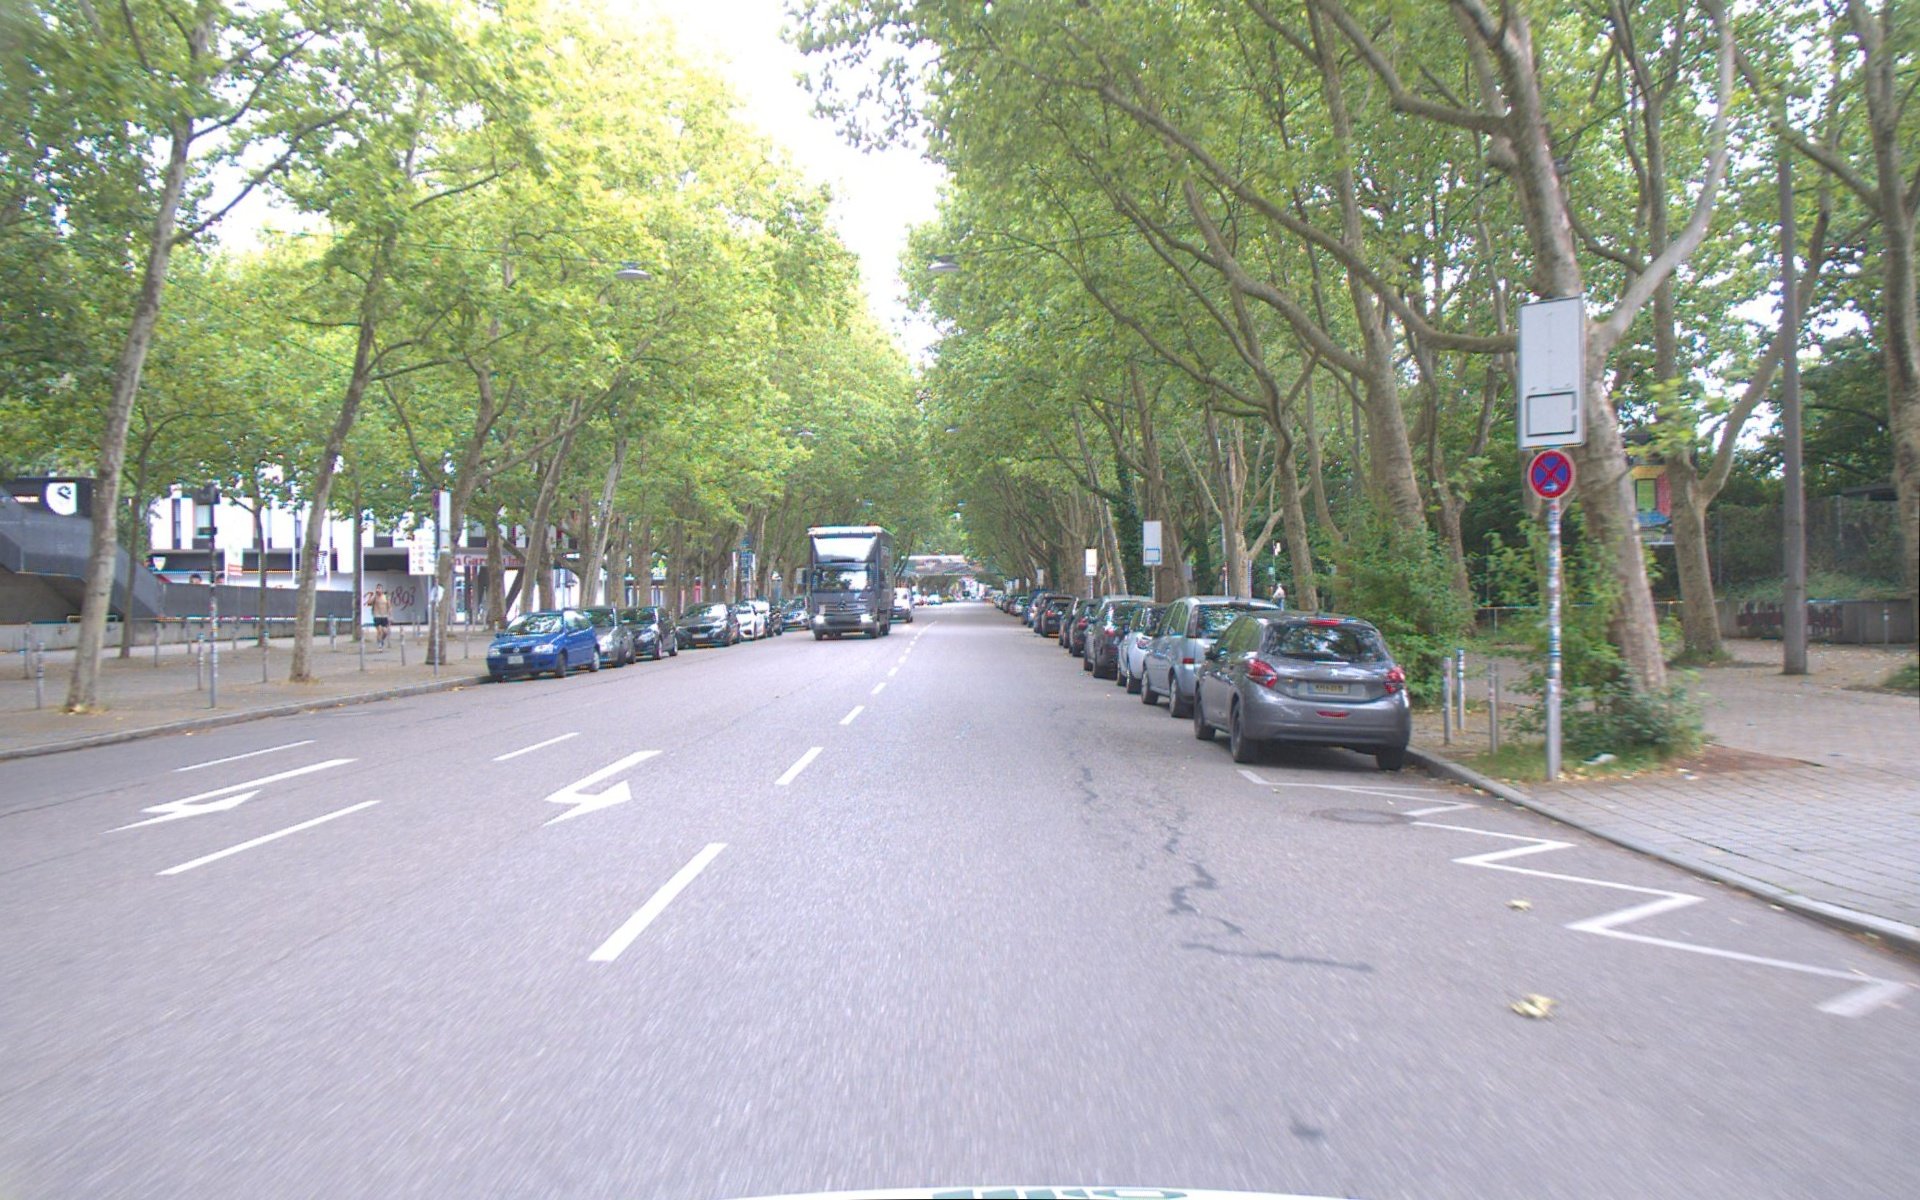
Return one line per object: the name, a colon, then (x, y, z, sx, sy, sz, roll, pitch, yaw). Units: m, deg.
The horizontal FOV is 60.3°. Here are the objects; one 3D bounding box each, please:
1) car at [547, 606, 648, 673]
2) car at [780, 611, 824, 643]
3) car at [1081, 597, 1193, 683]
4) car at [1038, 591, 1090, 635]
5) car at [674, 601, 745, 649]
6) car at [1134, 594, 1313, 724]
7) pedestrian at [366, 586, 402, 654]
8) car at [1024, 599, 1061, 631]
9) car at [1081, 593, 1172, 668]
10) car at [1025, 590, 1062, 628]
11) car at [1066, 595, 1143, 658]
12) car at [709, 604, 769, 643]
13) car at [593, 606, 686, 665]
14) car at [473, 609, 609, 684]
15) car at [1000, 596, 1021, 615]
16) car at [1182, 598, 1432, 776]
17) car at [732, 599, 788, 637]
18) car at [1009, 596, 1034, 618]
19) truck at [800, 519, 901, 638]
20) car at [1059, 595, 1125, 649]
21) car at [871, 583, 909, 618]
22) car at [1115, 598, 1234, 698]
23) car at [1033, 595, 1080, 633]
car: (-8.818, 0.960, 40.519, 1.731, 1.443, 3.759, -3, -1, -3)
car: (-7.855, 1.354, 82.497, 1.856, 1.463, 3.998, -2, -2, -1)
car: (3.486, 0.758, 33.202, 1.720, 1.516, 4.416, 3, 0, 0)
car: (3.965, 0.493, 63.697, 1.720, 1.561, 3.929, 2, 0, 0)
car: (-8.327, 0.851, 55.212, 1.730, 1.443, 3.761, -3, -1, 0)
car: (3.620, 0.768, 23.400, 1.684, 1.594, 4.093, 3, 0, -2)
pedestrian: (-16.034, 0.537, 46.053, 0.763, 1.867, 0.868, 0, 0, -34)
car: (4.135, 0.729, 83.378, 1.720, 1.561, 3.929, 0, 0, 0)
car: (3.847, 0.683, 38.752, 1.720, 1.625, 3.929, 2, 0, 0)
car: (4.553, 0.477, 90.665, 1.720, 1.847, 3.929, -5, 1, 0)
car: (3.844, 0.696, 44.592, 1.720, 1.561, 3.929, 2, 0, 0)
car: (-8.318, 0.918, 62.435, 1.697, 1.355, 3.999, -2, -2, 0)
car: (-8.695, 0.956, 45.169, 1.730, 1.443, 3.761, -3, -1, 0)
car: (-8.972, 0.980, 35.688, 1.660, 1.443, 3.763, -3, -1, 4)
car: (4.503, 0.499, 146.729, 1.720, 1.561, 3.929, 2, 0, 0)
car: (3.523, 0.803, 17.588, 1.664, 1.545, 4.454, 3, 0, 0)
car: (-8.198, 0.767, 68.150, 1.856, 1.463, 3.998, -2, -2, -1)
car: (4.656, 0.537, 125.019, 1.720, 1.561, 3.929, -2, 0, 0)
truck: (-3.915, -0.709, 61.268, 2.586, 3.970, 9.543, -2, 0, 3)
car: (4.110, 0.671, 51.965, 1.720, 1.561, 3.929, 2, 0, 0)
car: (-3.971, 0.030, 94.180, 1.939, 1.967, 4.113, 0, 0, 0)
car: (3.628, 0.789, 28.506, 1.641, 1.516, 3.687, 3, 0, 2)
car: (4.042, 0.574, 69.734, 1.720, 1.561, 3.929, 0, 0, 0)
